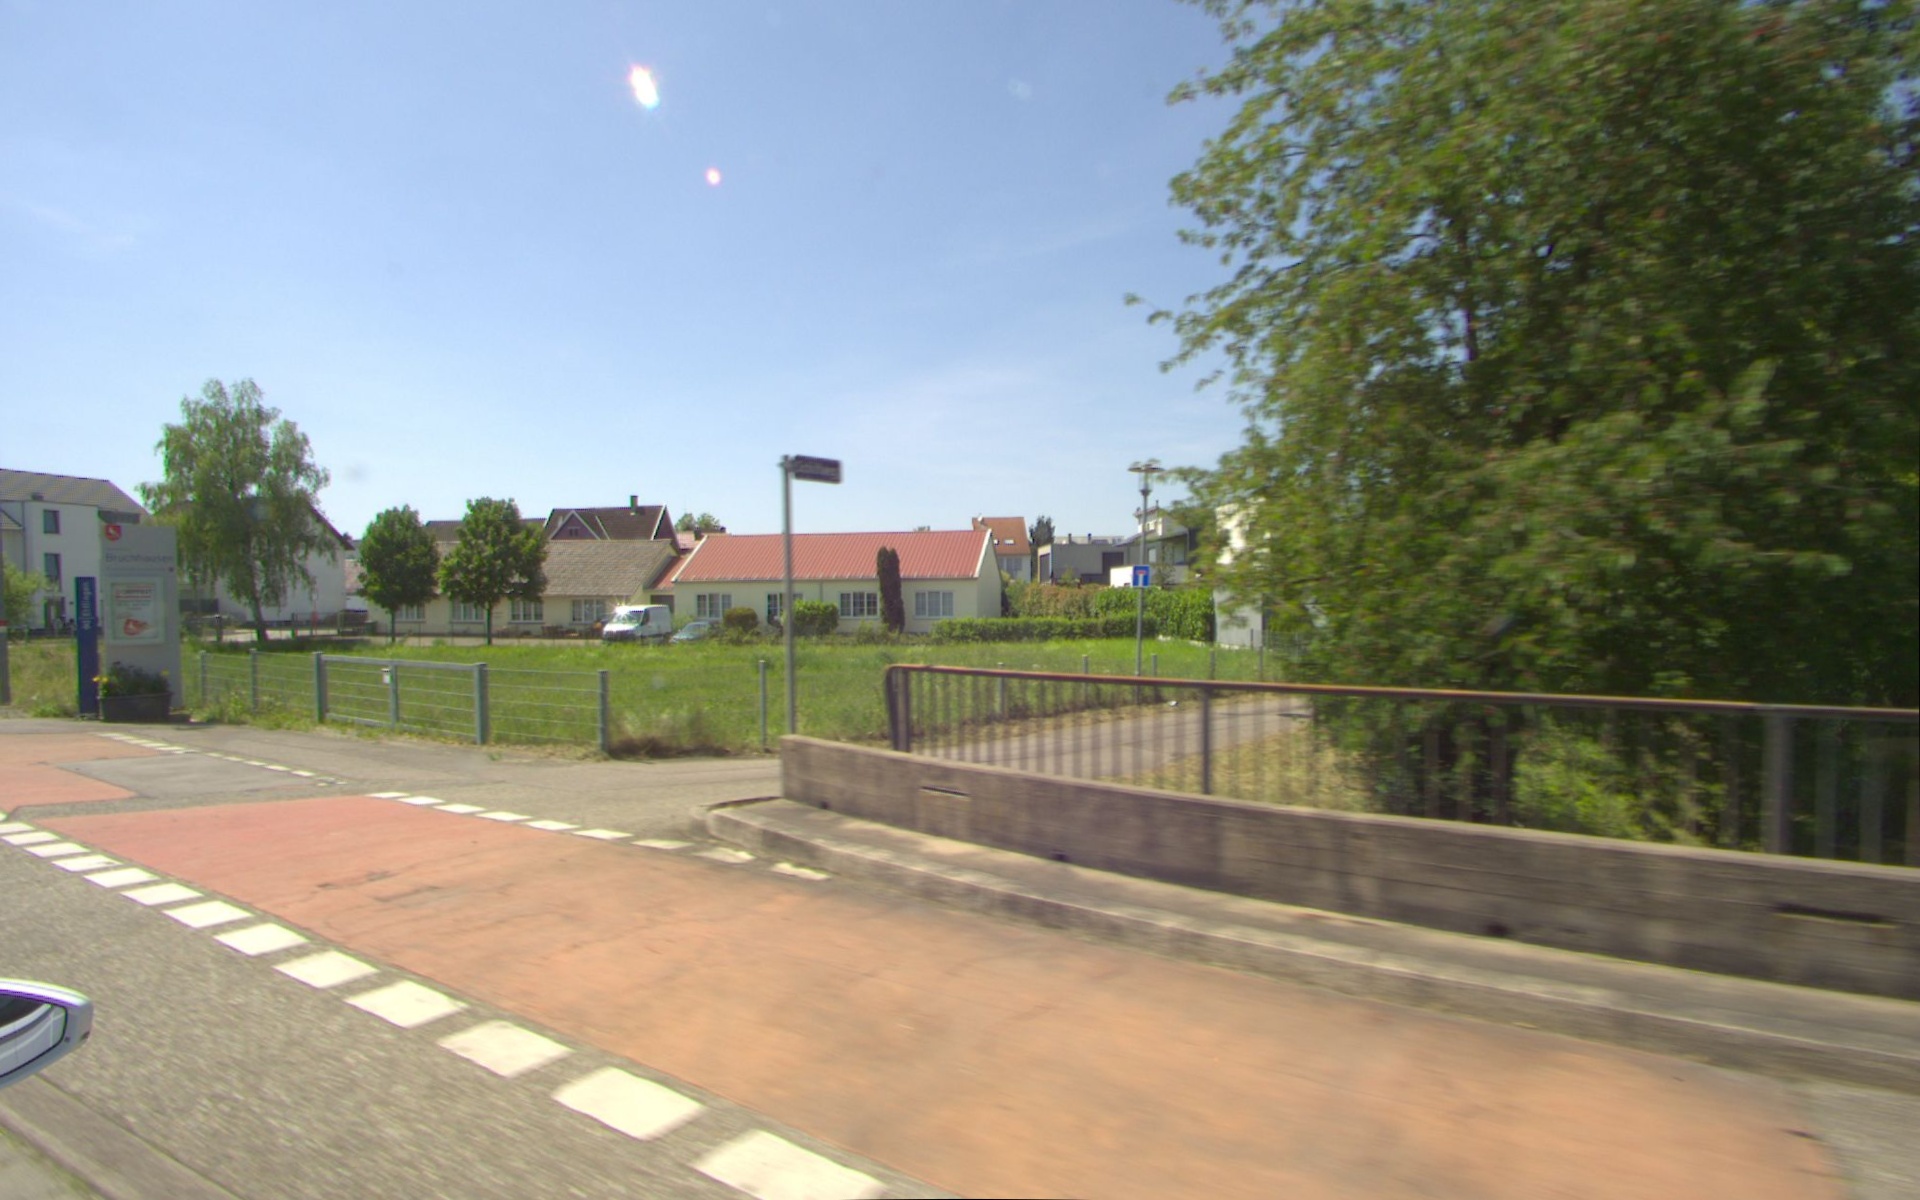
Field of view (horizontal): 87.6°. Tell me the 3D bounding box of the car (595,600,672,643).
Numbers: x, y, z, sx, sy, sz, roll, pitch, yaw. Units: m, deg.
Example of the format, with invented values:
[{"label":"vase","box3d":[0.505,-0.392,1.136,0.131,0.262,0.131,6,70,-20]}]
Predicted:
[{"label":"car","box3d":[-17.899,1.201,55.188,2.172,2.230,5.185,0,-1,6]}]
